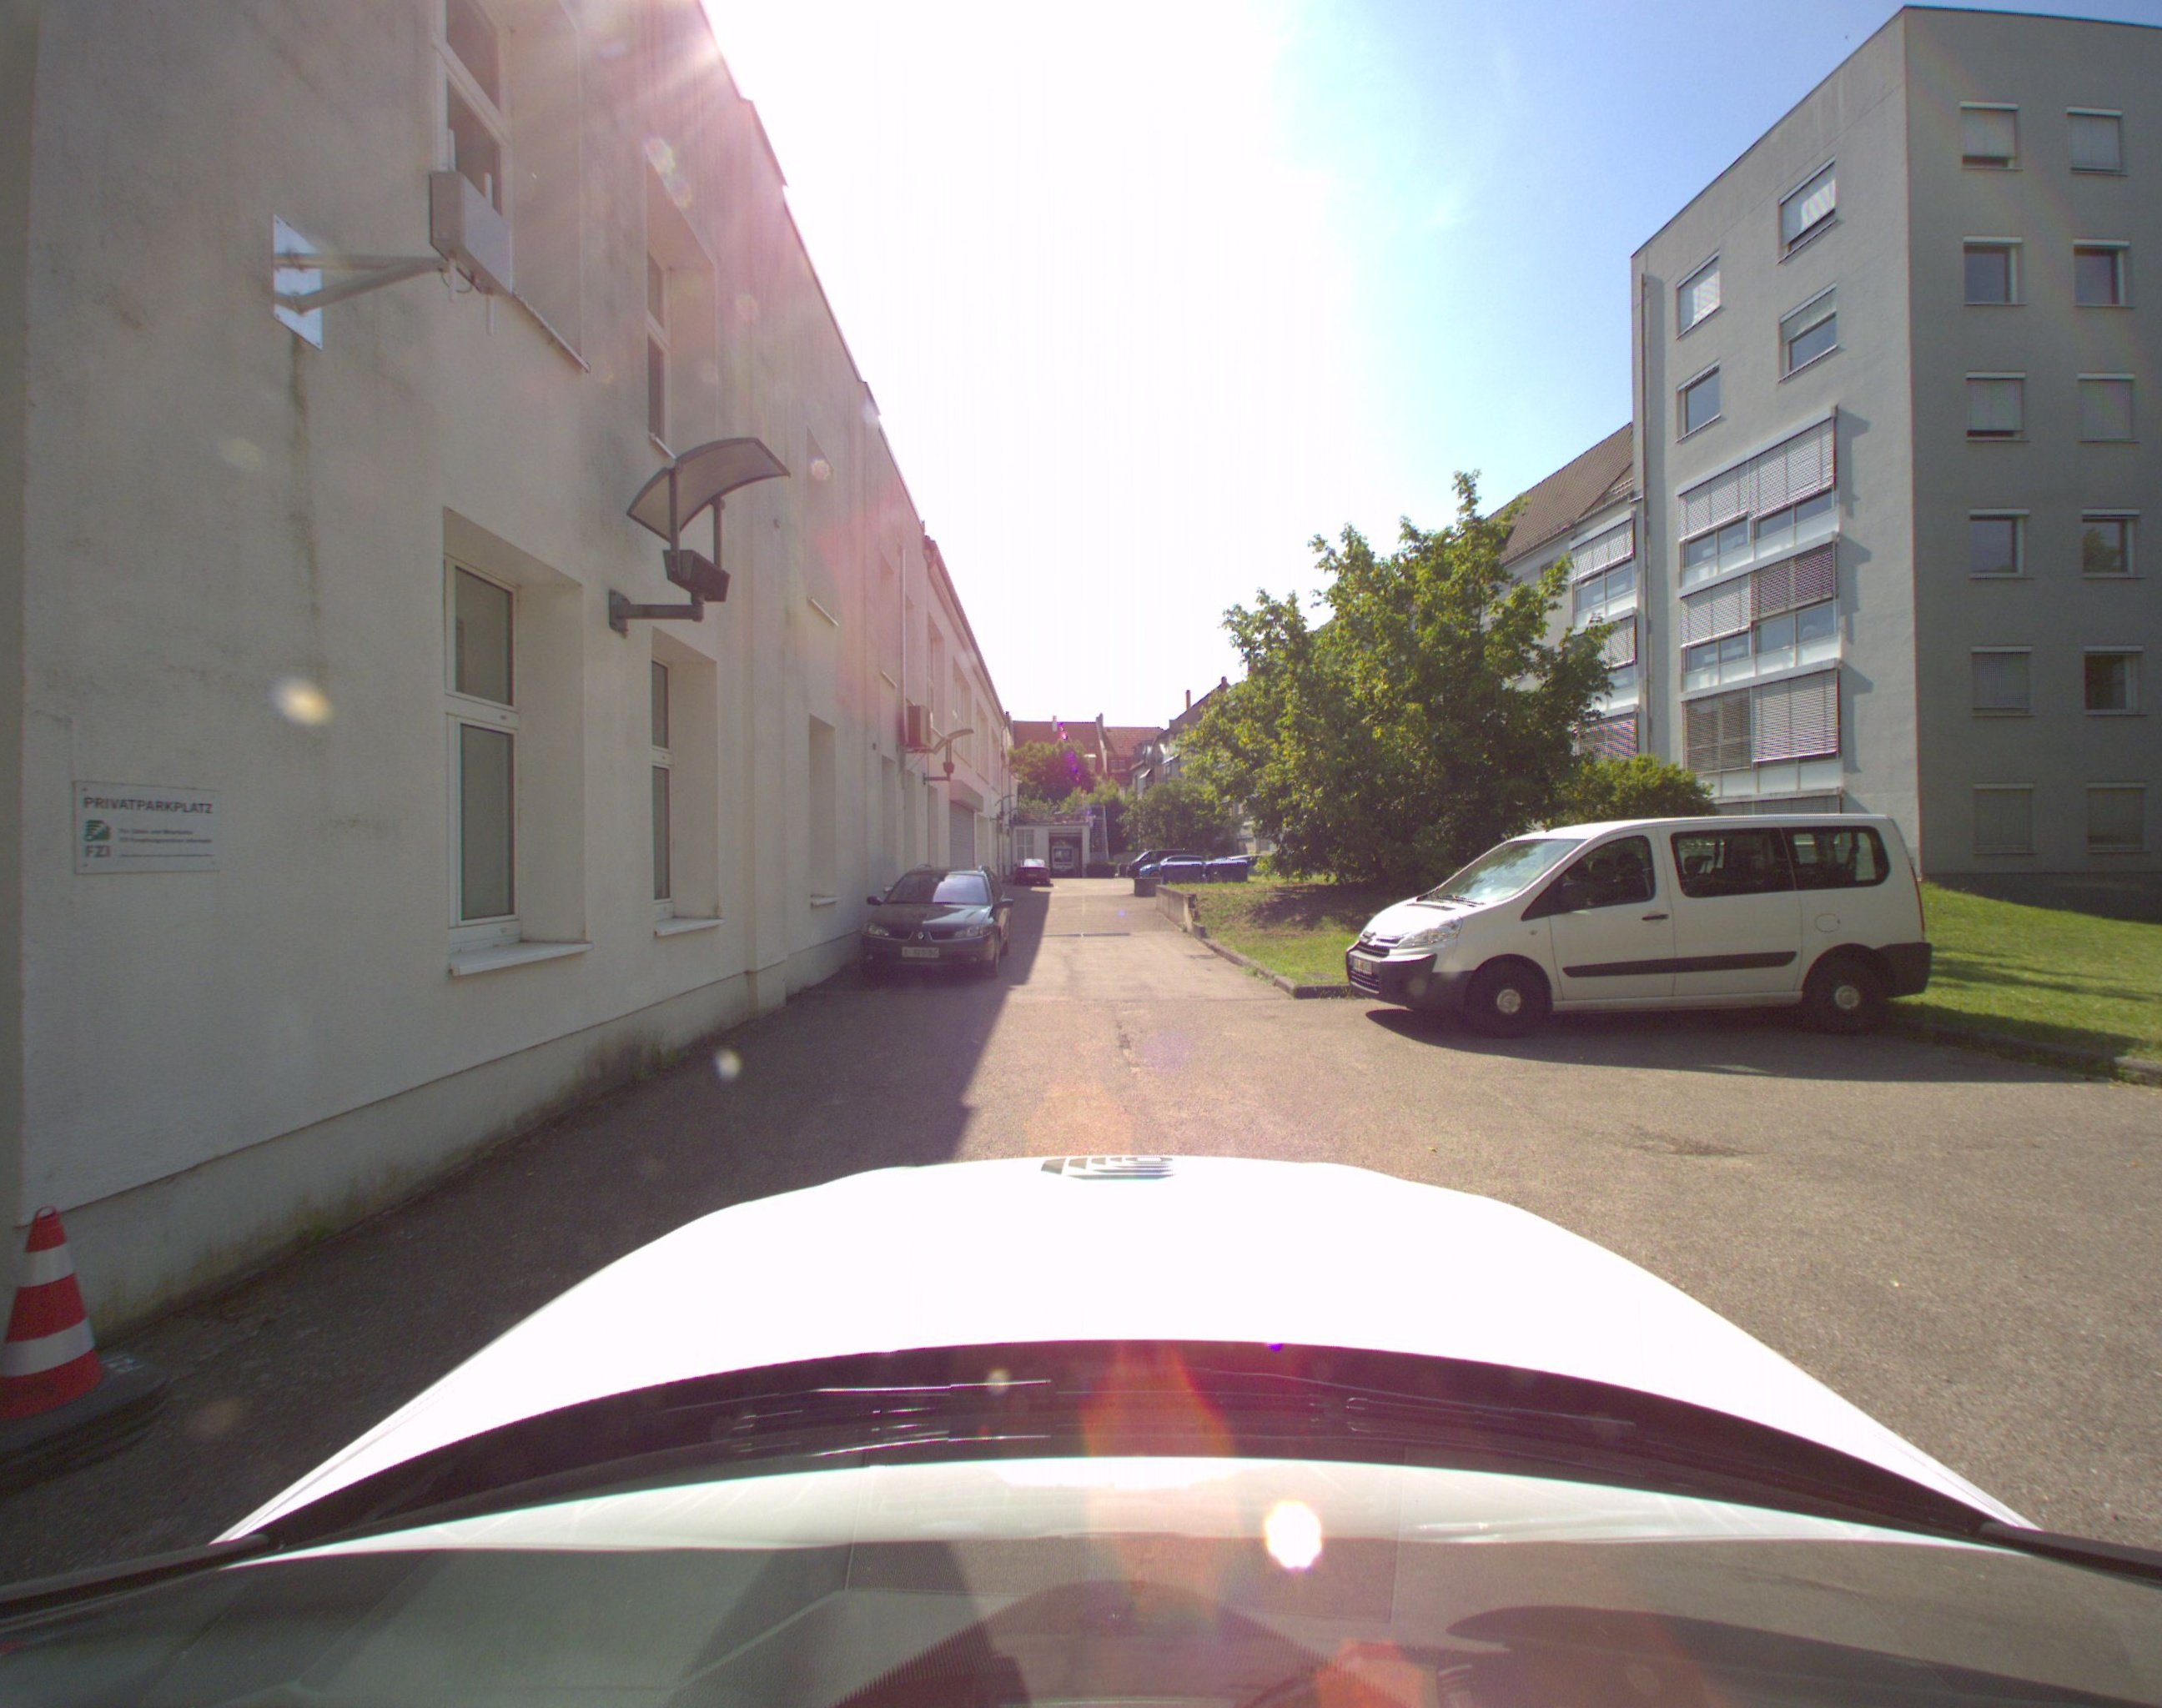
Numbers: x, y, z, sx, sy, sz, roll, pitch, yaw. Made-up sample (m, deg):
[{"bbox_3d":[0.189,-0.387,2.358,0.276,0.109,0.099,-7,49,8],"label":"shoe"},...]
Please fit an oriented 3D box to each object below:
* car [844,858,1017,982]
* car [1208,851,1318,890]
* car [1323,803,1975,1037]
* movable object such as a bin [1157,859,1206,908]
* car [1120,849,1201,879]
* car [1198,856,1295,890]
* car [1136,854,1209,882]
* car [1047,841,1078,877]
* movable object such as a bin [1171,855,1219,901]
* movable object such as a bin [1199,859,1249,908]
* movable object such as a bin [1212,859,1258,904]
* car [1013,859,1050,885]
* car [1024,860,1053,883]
[{"bbox_3d":[-1.978,0.862,12.009,1.832,1.442,4.425,2,-2,-2],"label":"car"},{"bbox_3d":[7.316,0.664,32.988,3.980,1.427,1.809,-1,0,-5],"label":"car"},{"bbox_3d":[5.159,0.554,7.947,5.008,1.933,1.999,-1,0,-1],"label":"car"},{"bbox_3d":[2.880,0.843,23.486,1.243,1.319,1.142,-3,-2,0],"label":"movable object such as a bin"},{"bbox_3d":[5.291,0.636,54.178,4.959,1.767,2.086,-2,1,-14],"label":"car"},{"bbox_3d":[7.359,0.831,36.418,3.977,1.394,1.687,-1,0,-2],"label":"car"},{"bbox_3d":[5.663,0.865,50.939,4.222,1.532,1.997,-2,1,-5],"label":"car"},{"bbox_3d":[-1.418,0.440,63.502,2.168,2.607,6.730,-2,-1,-1],"label":"car"},{"bbox_3d":[3.529,0.721,25.298,1.245,1.355,1.127,-1,0,-5],"label":"movable object such as a bin"},{"bbox_3d":[4.122,0.828,23.513,1.243,1.340,1.142,-1,0,1],"label":"movable object such as a bin"},{"bbox_3d":[4.802,0.835,25.471,1.153,1.336,1.140,-1,0,-5],"label":"movable object such as a bin"},{"bbox_3d":[-2.614,0.943,43.628,1.847,1.319,3.996,1,0,-2],"label":"car"},{"bbox_3d":[-2.601,1.056,50.631,1.609,1.295,3.757,-1,0,-1],"label":"car"}]
